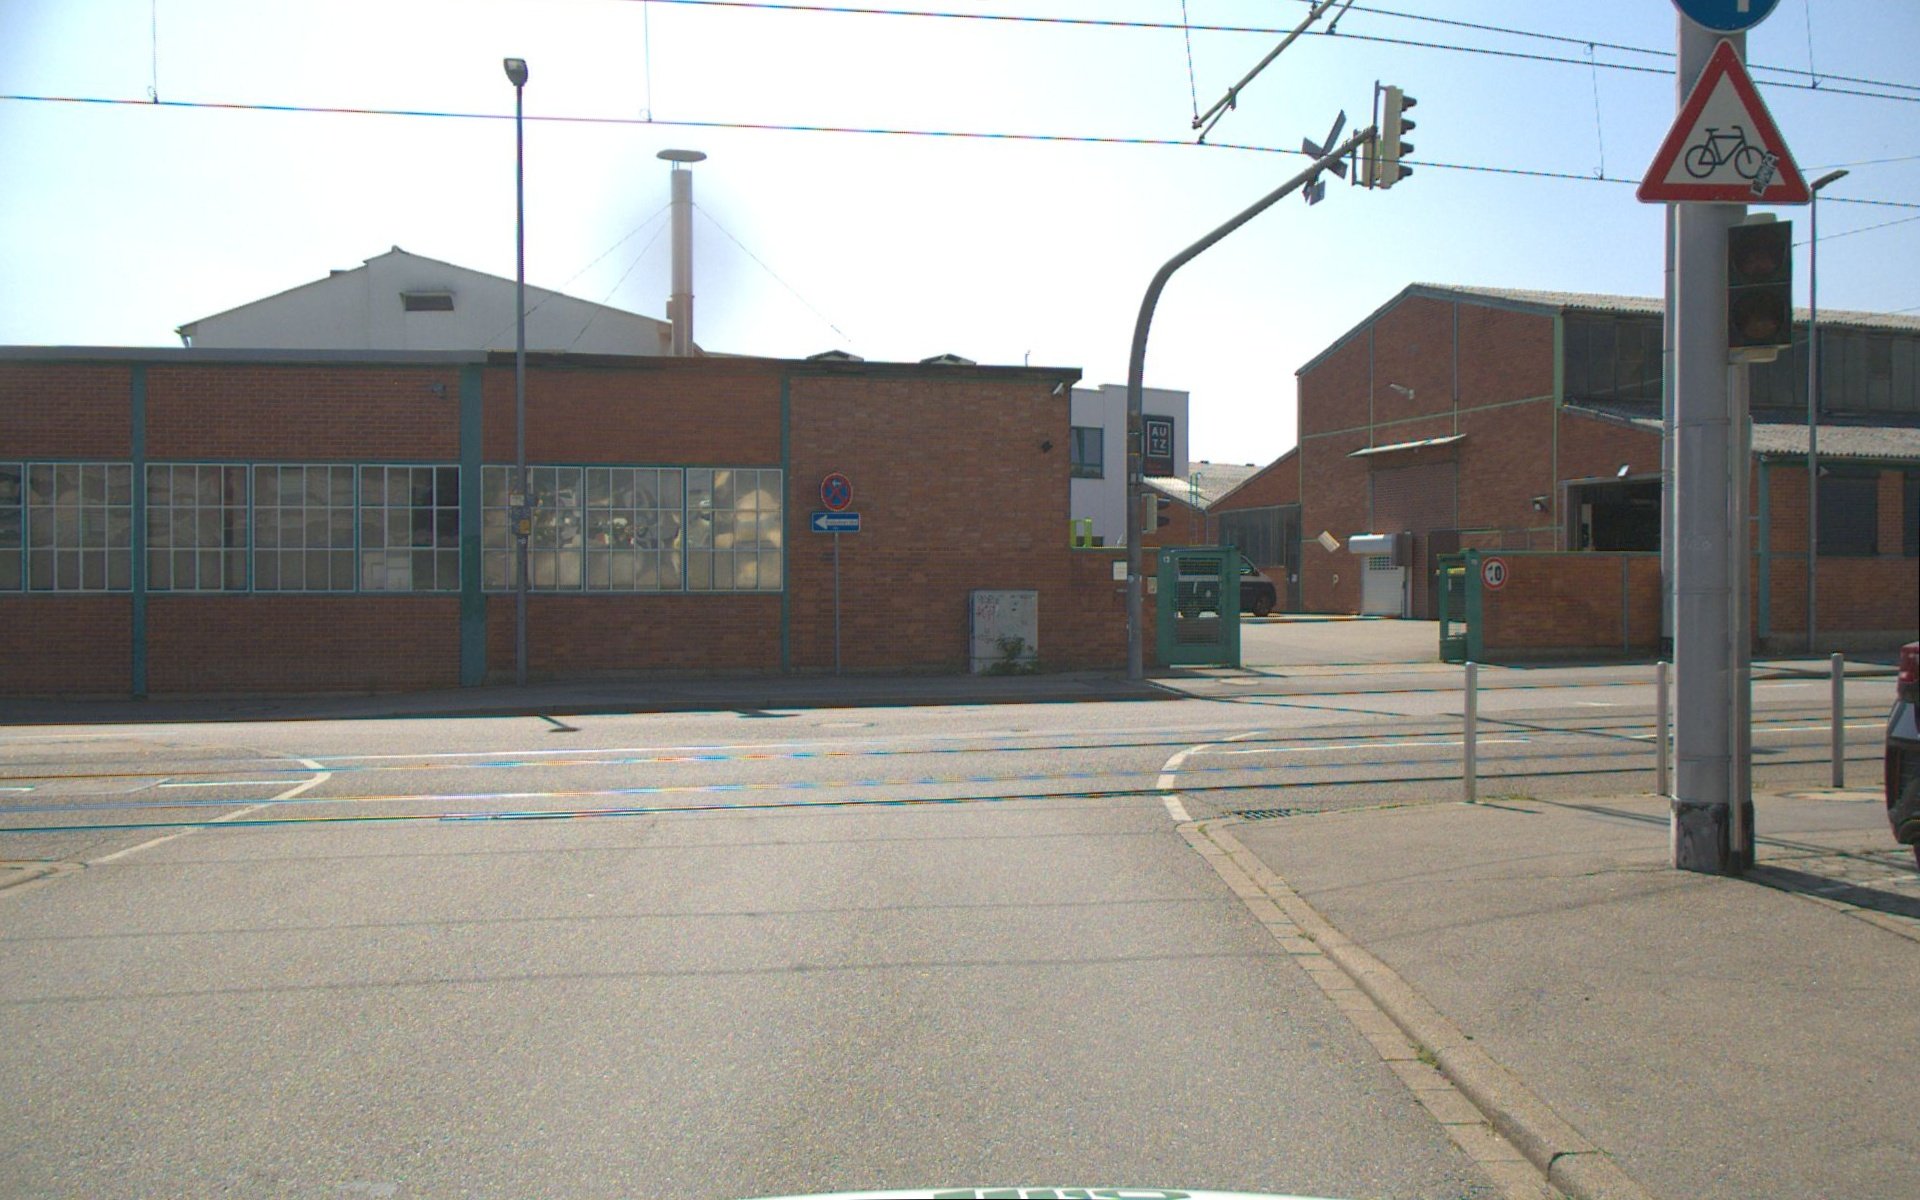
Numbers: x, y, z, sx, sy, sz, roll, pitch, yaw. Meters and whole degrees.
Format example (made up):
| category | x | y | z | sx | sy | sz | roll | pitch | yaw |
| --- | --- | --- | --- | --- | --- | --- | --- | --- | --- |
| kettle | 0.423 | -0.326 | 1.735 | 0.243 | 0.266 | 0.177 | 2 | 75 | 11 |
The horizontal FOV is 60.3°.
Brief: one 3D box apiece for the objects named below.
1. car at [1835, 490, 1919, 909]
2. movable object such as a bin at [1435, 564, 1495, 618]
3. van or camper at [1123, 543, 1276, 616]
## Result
| category | x | y | z | sx | sy | sz | roll | pitch | yaw |
| --- | --- | --- | --- | --- | --- | --- | --- | --- | --- |
| car | 5.548 | 0.371 | 6.453 | 3.912 | 1.547 | 1.865 | 0 | 0 | -26 |
| movable object such as a bin | 12.739 | -0.228 | 41.727 | 0.959 | 1.337 | 1.146 | -1 | 0 | -18 |
| van or camper | 7.154 | -0.590 | 49.144 | 4.374 | 1.933 | 1.974 | 3 | -1 | -37 |
